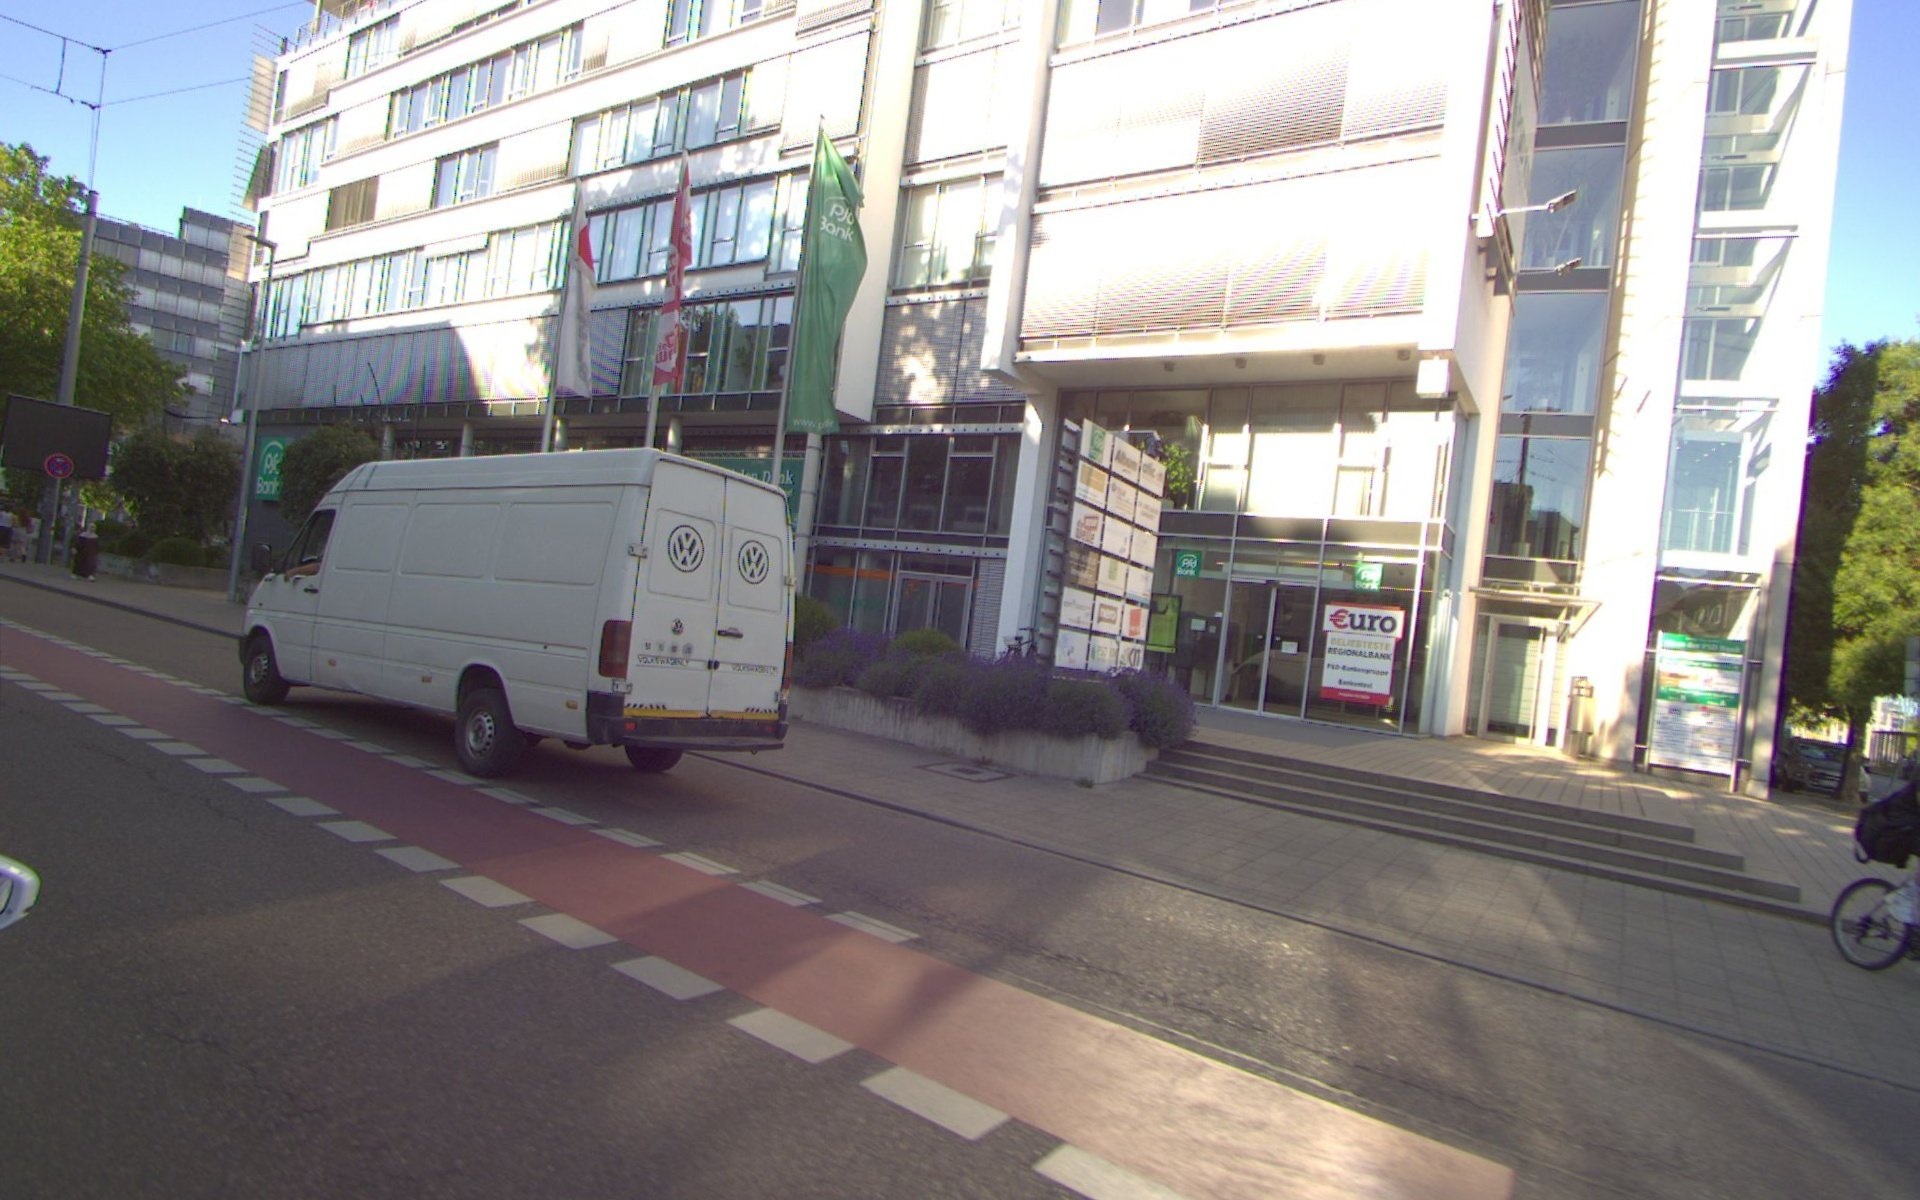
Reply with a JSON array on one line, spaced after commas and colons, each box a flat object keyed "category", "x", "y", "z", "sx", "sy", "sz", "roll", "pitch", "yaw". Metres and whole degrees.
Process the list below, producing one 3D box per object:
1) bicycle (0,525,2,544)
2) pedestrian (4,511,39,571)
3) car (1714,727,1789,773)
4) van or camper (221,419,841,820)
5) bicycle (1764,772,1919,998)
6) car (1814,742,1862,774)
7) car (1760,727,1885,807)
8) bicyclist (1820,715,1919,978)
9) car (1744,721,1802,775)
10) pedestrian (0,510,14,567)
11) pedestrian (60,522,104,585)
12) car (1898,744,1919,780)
[{"category": "bicycle", "x": -52.527, "y": -3.628, "z": 54.501, "sx": 1.739, "sy": 0.994, "sz": 0.503, "roll": 6, "pitch": 0, "yaw": 34}, {"category": "pedestrian", "x": -29.875, "y": -1.890, "z": 32.017, "sx": 0.892, "sy": 1.820, "sz": 0.540, "roll": 6, "pitch": 2, "yaw": 32}, {"category": "car", "x": 33.423, "y": 6.302, "z": 42.576, "sx": 1.955, "sy": 1.512, "sz": 4.394, "roll": 6, "pitch": -2, "yaw": 33}, {"category": "van or camper", "x": -4.272, "y": -0.032, "z": 9.386, "sx": 6.204, "sy": 2.747, "sz": 1.972, "roll": 6, "pitch": -2, "yaw": 34}, {"category": "bicycle", "x": 6.759, "y": 2.040, "z": 6.984, "sx": 0.640, "sy": 1.297, "sz": 1.865, "roll": 7, "pitch": 1, "yaw": -2}, {"category": "car", "x": 62.699, "y": 11.255, "z": 71.886, "sx": 1.968, "sy": 1.931, "sz": 3.994, "roll": 6, "pitch": -4, "yaw": 34}, {"category": "car", "x": 23.864, "y": 4.548, "z": 27.988, "sx": 1.955, "sy": 1.715, "sz": 3.992, "roll": 6, "pitch": -2, "yaw": 33}, {"category": "bicyclist", "x": 6.797, "y": 1.724, "z": 7.030, "sx": 0.640, "sy": 1.691, "sz": 0.863, "roll": 7, "pitch": -1, "yaw": -2}, {"category": "car", "x": 47.690, "y": 8.699, "z": 59.109, "sx": 2.023, "sy": 2.703, "sz": 5.012, "roll": 6, "pitch": -4, "yaw": 34}, {"category": "pedestrian", "x": -30.178, "y": -1.945, "z": 31.473, "sx": 0.892, "sy": 1.725, "sz": 0.564, "roll": 6, "pitch": 2, "yaw": 32}, {"category": "pedestrian", "x": -23.690, "y": -1.252, "z": 27.148, "sx": 0.711, "sy": 1.600, "sz": 0.642, "roll": 6, "pitch": 2, "yaw": 30}, {"category": "car", "x": 55.832, "y": 9.451, "z": 57.824, "sx": 1.968, "sy": 1.944, "sz": 3.993, "roll": 6, "pitch": -2, "yaw": 33}]
